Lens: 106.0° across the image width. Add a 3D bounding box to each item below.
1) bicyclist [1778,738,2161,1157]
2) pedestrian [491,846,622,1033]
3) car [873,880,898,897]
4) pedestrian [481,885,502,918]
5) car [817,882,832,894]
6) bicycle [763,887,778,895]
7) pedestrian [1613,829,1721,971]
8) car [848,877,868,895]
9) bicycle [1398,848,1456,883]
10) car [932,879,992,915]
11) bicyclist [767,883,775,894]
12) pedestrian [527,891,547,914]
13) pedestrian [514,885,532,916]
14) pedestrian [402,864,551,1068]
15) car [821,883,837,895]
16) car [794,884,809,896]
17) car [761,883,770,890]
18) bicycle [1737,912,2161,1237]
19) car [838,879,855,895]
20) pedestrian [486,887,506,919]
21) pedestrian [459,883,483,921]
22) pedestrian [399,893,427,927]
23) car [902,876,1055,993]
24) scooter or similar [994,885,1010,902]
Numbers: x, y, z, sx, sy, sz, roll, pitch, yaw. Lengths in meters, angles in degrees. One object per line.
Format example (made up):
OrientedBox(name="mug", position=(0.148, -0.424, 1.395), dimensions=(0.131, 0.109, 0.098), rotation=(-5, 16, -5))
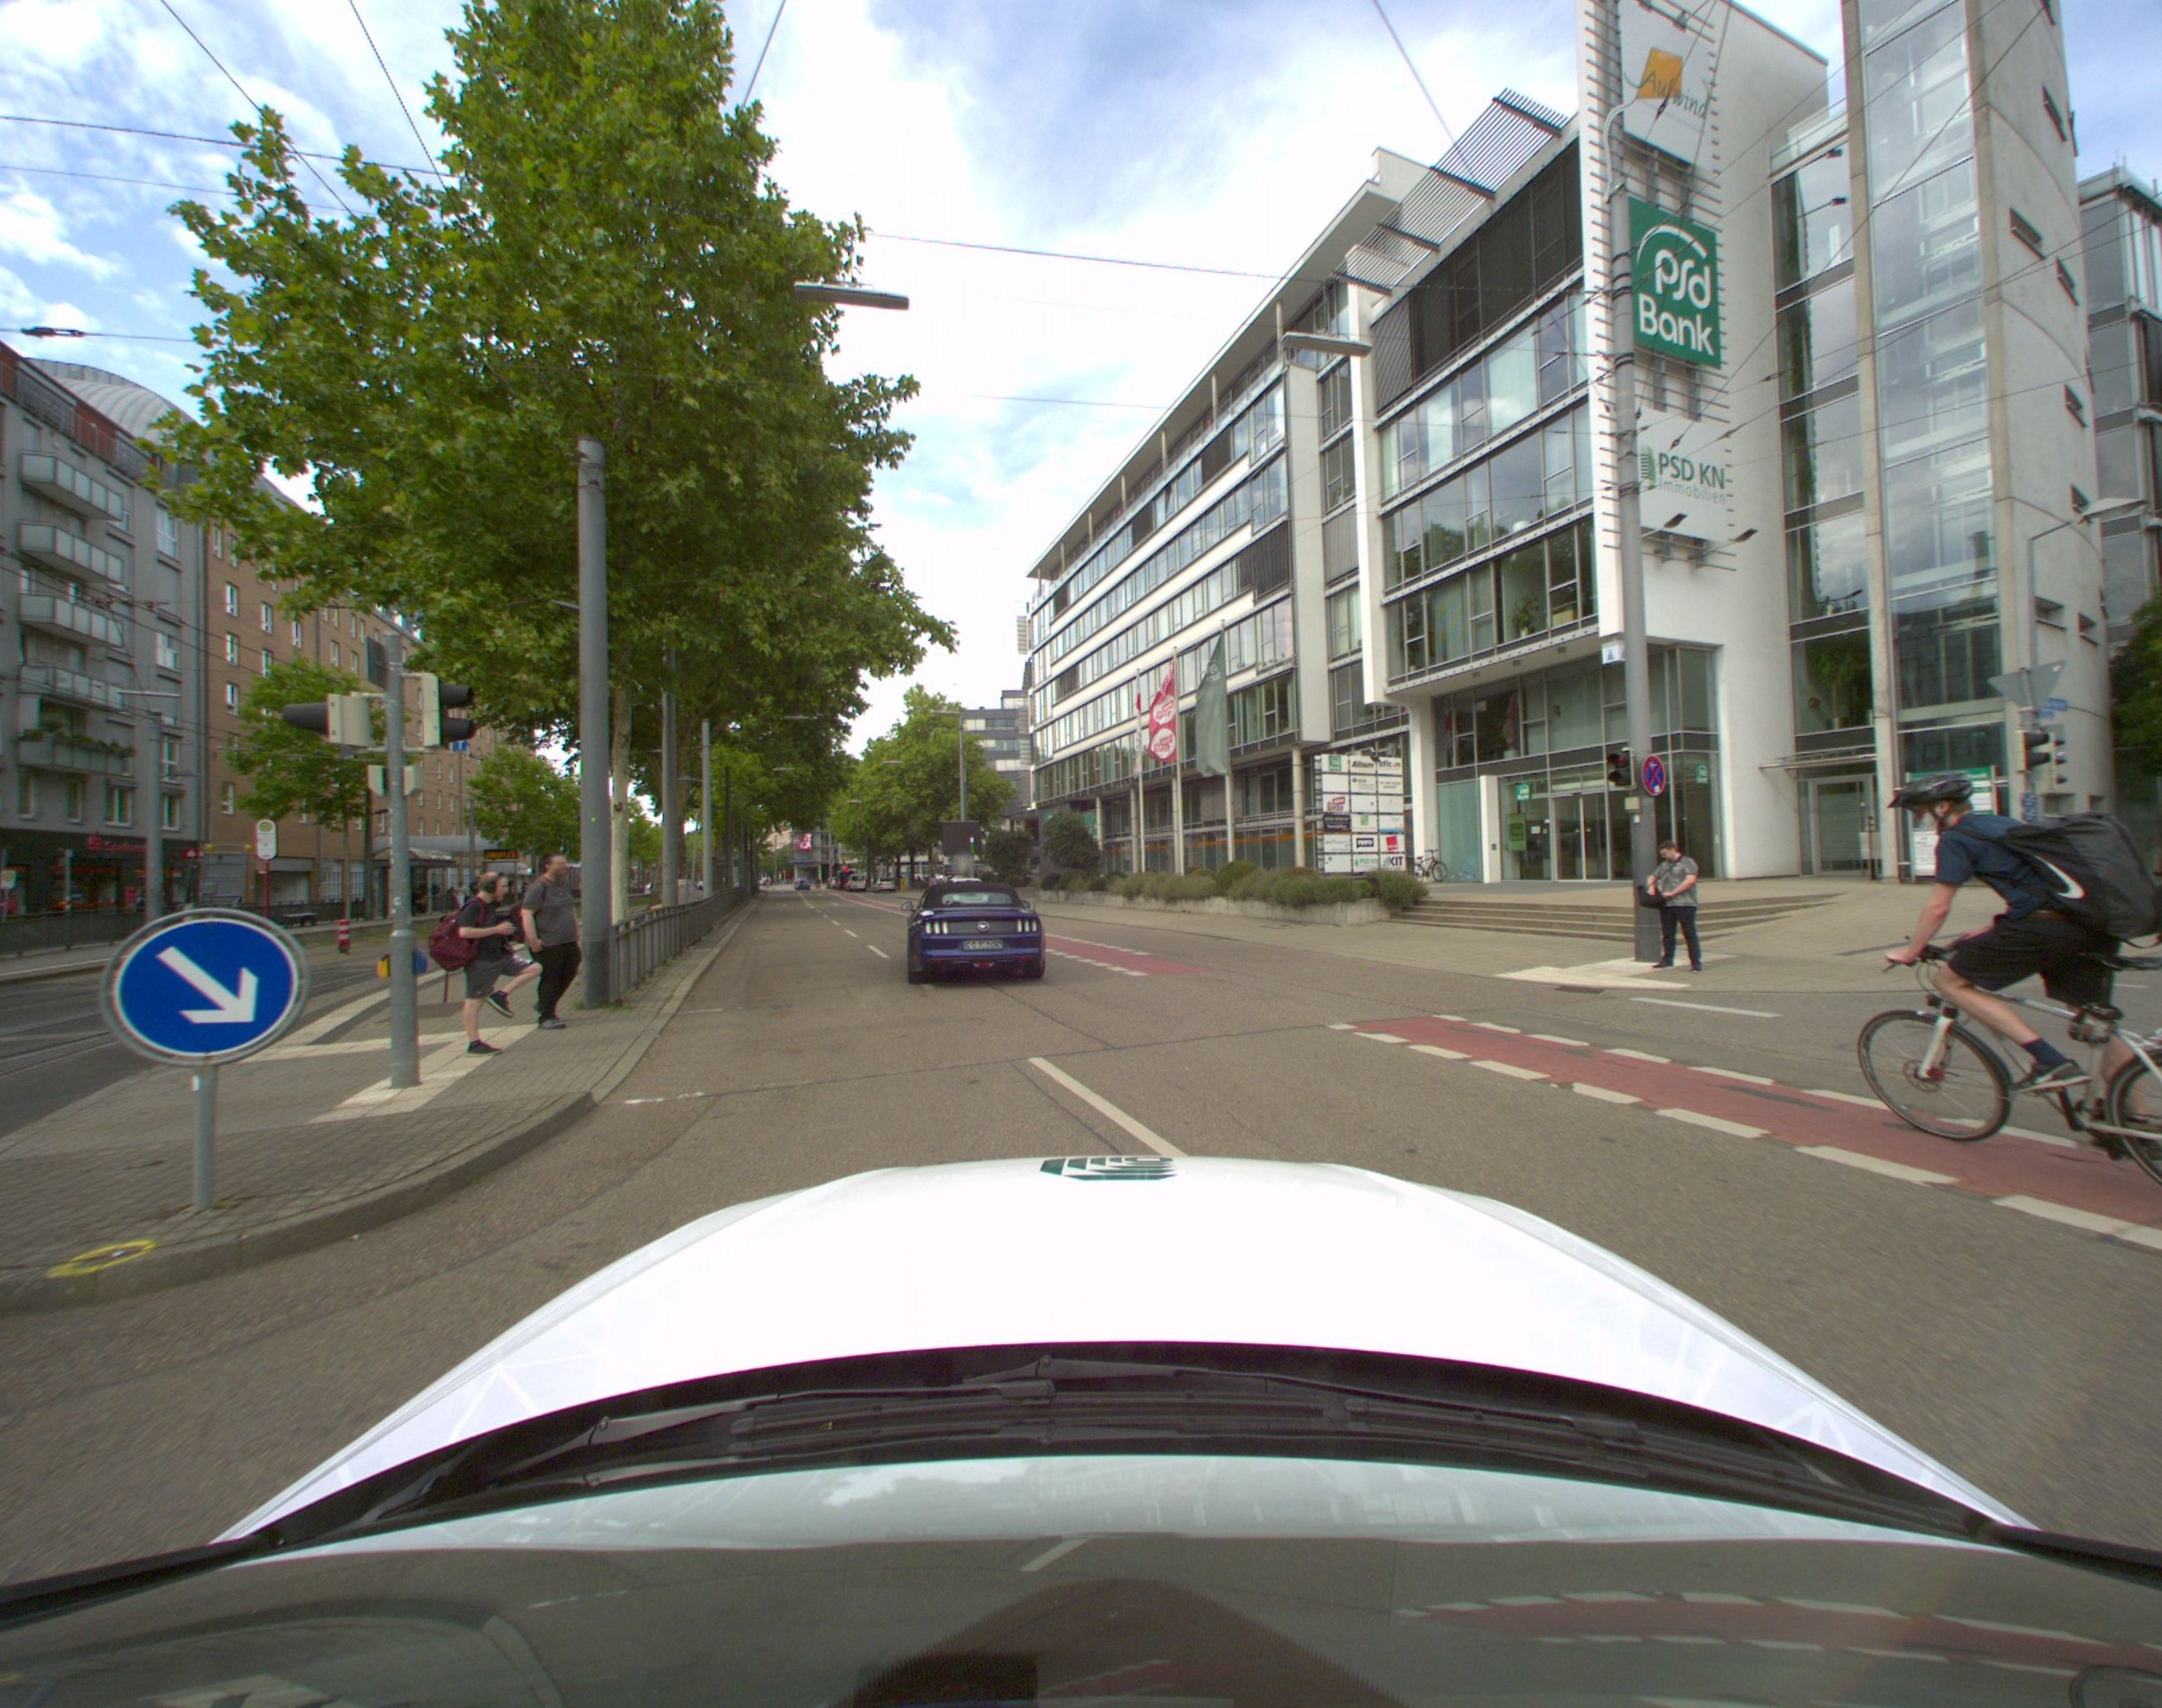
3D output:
OrientedBox(name="bicyclist", position=(4.481, 0.418, 4.128), dimensions=(0.792, 1.786, 1.234), rotation=(-2, -2, 5))
OrientedBox(name="pedestrian", position=(-5.589, 0.875, 8.694), dimensions=(0.834, 1.856, 0.845), rotation=(-3, -2, 27))
OrientedBox(name="car", position=(-19.849, 3.470, 82.546), dimensions=(1.887, 1.582, 4.293), rotation=(-1, -2, -21))
OrientedBox(name="pedestrian", position=(-34.734, 2.802, 47.980), dimensions=(0.819, 1.887, 0.779), rotation=(-1, -2, -25))
OrientedBox(name="car", position=(-36.862, 4.896, 117.035), dimensions=(1.841, 1.521, 4.147), rotation=(-1, -2, -20))
OrientedBox(name="bicycle", position=(-45.257, 5.397, 118.792), dimensions=(2.025, 1.086, 0.664), rotation=(-1, -2, -21))
OrientedBox(name="pedestrian", position=(8.103, 0.619, 11.289), dimensions=(0.764, 1.865, 0.832), rotation=(-2, -2, -15))
OrientedBox(name="car", position=(-24.933, 3.542, 90.981), dimensions=(1.896, 1.903, 4.101), rotation=(-1, -2, -20))
OrientedBox(name="bicycle", position=(12.106, 0.382, 28.497), dimensions=(2.118, 1.177, 0.581), rotation=(-1, -1, -25))
OrientedBox(name="car", position=(-5.320, 1.875, 35.980), dimensions=(1.841, 1.439, 4.159), rotation=(-2, -2, -20))
OrientedBox(name="bicyclist", position=(-45.269, 5.014, 118.806), dimensions=(1.010, 1.660, 0.643), rotation=(-1, -2, -21))
OrientedBox(name="pedestrian", position=(-38.979, 3.476, 58.341), dimensions=(0.999, 1.601, 0.844), rotation=(-1, -2, -24))
OrientedBox(name="pedestrian", position=(-36.673, 3.026, 53.483), dimensions=(0.818, 1.993, 0.779), rotation=(-1, -2, -24))
OrientedBox(name="pedestrian", position=(-5.411, 0.950, 7.358), dimensions=(0.764, 1.671, 0.933), rotation=(-2, -2, -14))
OrientedBox(name="car", position=(-34.398, 4.751, 111.091), dimensions=(1.841, 1.521, 4.147), rotation=(-1, -2, -20))
OrientedBox(name="car", position=(-37.864, 4.832, 110.338), dimensions=(1.841, 1.547, 4.186), rotation=(-1, -2, -20))
OrientedBox(name="car", position=(-72.250, 7.431, 186.702), dimensions=(1.841, 1.521, 4.147), rotation=(-1, -2, -20))
OrientedBox(name="bicycle", position=(4.489, 0.893, 4.061), dimensions=(0.796, 1.086, 2.134), rotation=(-2, -2, 5))
OrientedBox(name="car", position=(-29.613, 4.181, 102.745), dimensions=(1.841, 1.903, 4.147), rotation=(-1, -2, -20))
OrientedBox(name="pedestrian", position=(-36.103, 3.006, 50.252), dimensions=(0.819, 1.887, 0.779), rotation=(-1, -2, -25))
OrientedBox(name="pedestrian", position=(-31.560, 2.482, 42.115), dimensions=(0.819, 1.887, 0.779), rotation=(-1, -2, -25))
OrientedBox(name="pedestrian", position=(-31.525, 2.632, 38.443), dimensions=(0.819, 1.537, 0.779), rotation=(-1, -2, -25))
OrientedBox(name="car", position=(-1.755, 1.081, 12.551), dimensions=(1.878, 1.404, 4.262), rotation=(-2, -1, -13))
OrientedBox(name="scooter or similar", position=(-4.574, 2.279, 47.325), dimensions=(0.589, 0.950, 1.849), rotation=(-2, -2, -16))
